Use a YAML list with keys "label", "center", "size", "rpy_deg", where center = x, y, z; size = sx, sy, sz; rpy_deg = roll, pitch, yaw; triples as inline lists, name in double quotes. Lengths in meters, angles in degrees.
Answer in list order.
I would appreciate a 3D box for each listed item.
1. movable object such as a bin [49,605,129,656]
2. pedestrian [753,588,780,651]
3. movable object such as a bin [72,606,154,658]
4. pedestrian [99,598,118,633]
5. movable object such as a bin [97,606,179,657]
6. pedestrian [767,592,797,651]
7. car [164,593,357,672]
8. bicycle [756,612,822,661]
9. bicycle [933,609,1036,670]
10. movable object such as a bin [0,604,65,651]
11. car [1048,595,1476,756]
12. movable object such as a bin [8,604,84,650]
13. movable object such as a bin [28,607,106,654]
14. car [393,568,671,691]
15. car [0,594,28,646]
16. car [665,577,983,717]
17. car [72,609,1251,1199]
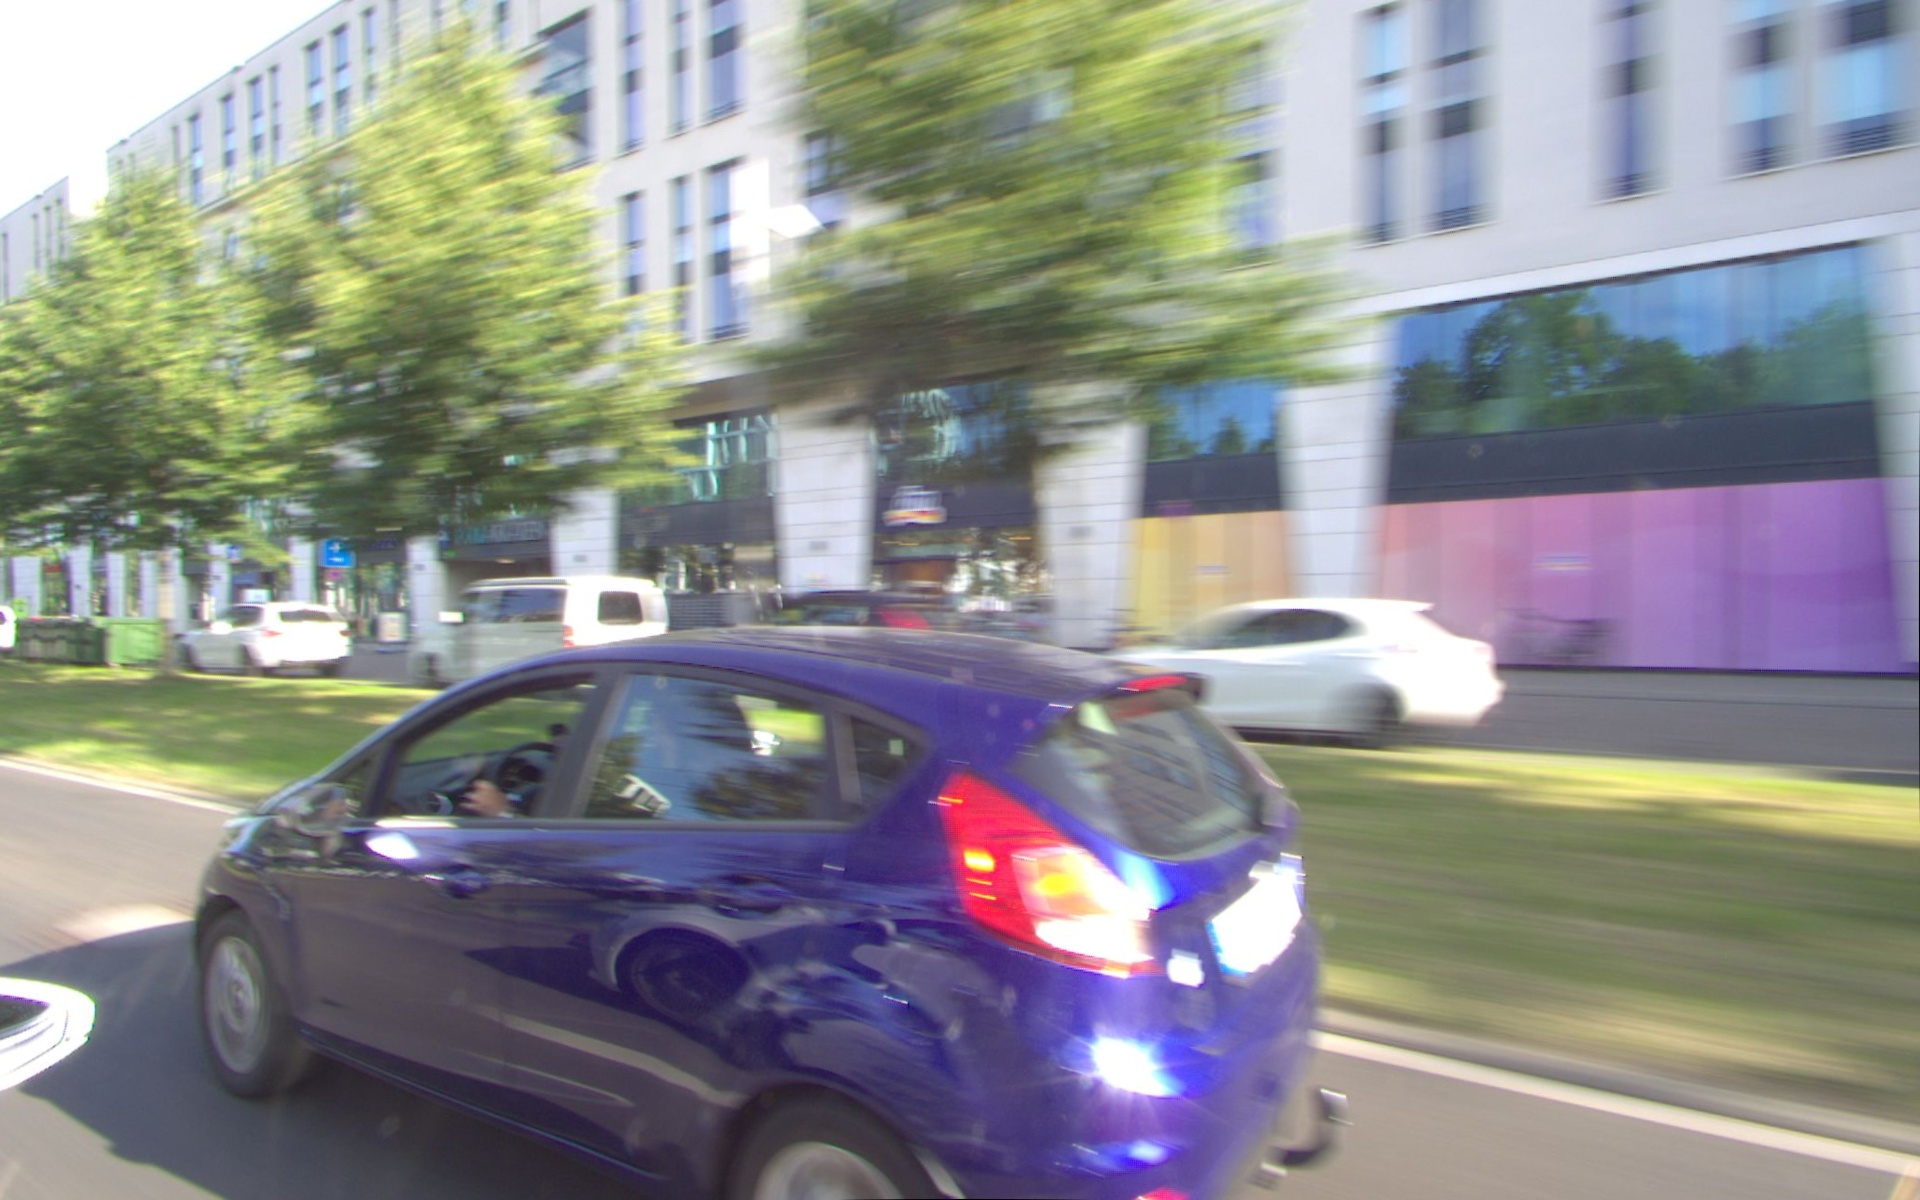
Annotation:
- label: "movable object such as a bin"
  center: [-23.301, 0.818, 26.799]
  size: [1.173, 1.334, 1.276]
  rpy_deg: [0, -2, 29]
- label: "pedestrian"
  center: [-5.012, 0.509, 25.955]
  size: [0.530, 1.594, 0.515]
  rpy_deg: [0, -1, 13]
- label: "movable object such as a bin"
  center: [-22.131, 0.842, 26.176]
  size: [1.173, 1.318, 1.276]
  rpy_deg: [0, -2, 29]
- label: "pedestrian"
  center: [-43.587, 0.783, 51.245]
  size: [0.637, 1.785, 0.536]
  rpy_deg: [0, -1, 32]
- label: "movable object such as a bin"
  center: [-20.825, 0.814, 25.417]
  size: [1.383, 1.252, 1.328]
  rpy_deg: [1, -2, -31]
- label: "pedestrian"
  center: [-4.735, 0.583, 26.596]
  size: [0.589, 1.541, 0.513]
  rpy_deg: [0, -1, 32]
- label: "car"
  center: [-16.010, 0.679, 22.868]
  size: [4.777, 1.652, 1.728]
  rpy_deg: [0, 0, 30]
- label: "bicycle"
  center: [-4.041, 0.854, 23.594]
  size: [1.708, 1.096, 0.343]
  rpy_deg: [-1, 3, 33]
- label: "bicycle"
  center: [0.515, 0.814, 20.789]
  size: [2.069, 1.115, 0.420]
  rpy_deg: [-3, 3, -13]
- label: "movable object such as a bin"
  center: [-26.789, 0.803, 28.783]
  size: [1.160, 1.308, 1.276]
  rpy_deg: [0, -2, 29]
- label: "car"
  center: [3.137, 0.718, 10.607]
  size: [4.105, 1.430, 1.615]
  rpy_deg: [-1, -2, 30]
- label: "movable object such as a bin"
  center: [-25.710, 0.768, 28.180]
  size: [1.173, 1.252, 1.276]
  rpy_deg: [0, -2, 29]
- label: "movable object such as a bin"
  center: [-24.478, 0.833, 27.462]
  size: [1.173, 1.252, 1.276]
  rpy_deg: [0, -2, 29]
- label: "car"
  center: [-7.534, 0.517, 17.496]
  size: [4.955, 1.900, 1.836]
  rpy_deg: [-1, -2, 30]
- label: "car"
  center: [-33.608, 0.675, 33.892]
  size: [4.231, 1.733, 1.826]
  rpy_deg: [-1, -2, 30]
- label: "car"
  center: [-1.943, 0.617, 13.808]
  size: [4.278, 1.671, 1.725]
  rpy_deg: [-1, -2, 33]
- label: "car"
  center: [-1.183, 0.787, 3.289]
  size: [3.851, 1.442, 1.558]
  rpy_deg: [-1, -2, 32]
